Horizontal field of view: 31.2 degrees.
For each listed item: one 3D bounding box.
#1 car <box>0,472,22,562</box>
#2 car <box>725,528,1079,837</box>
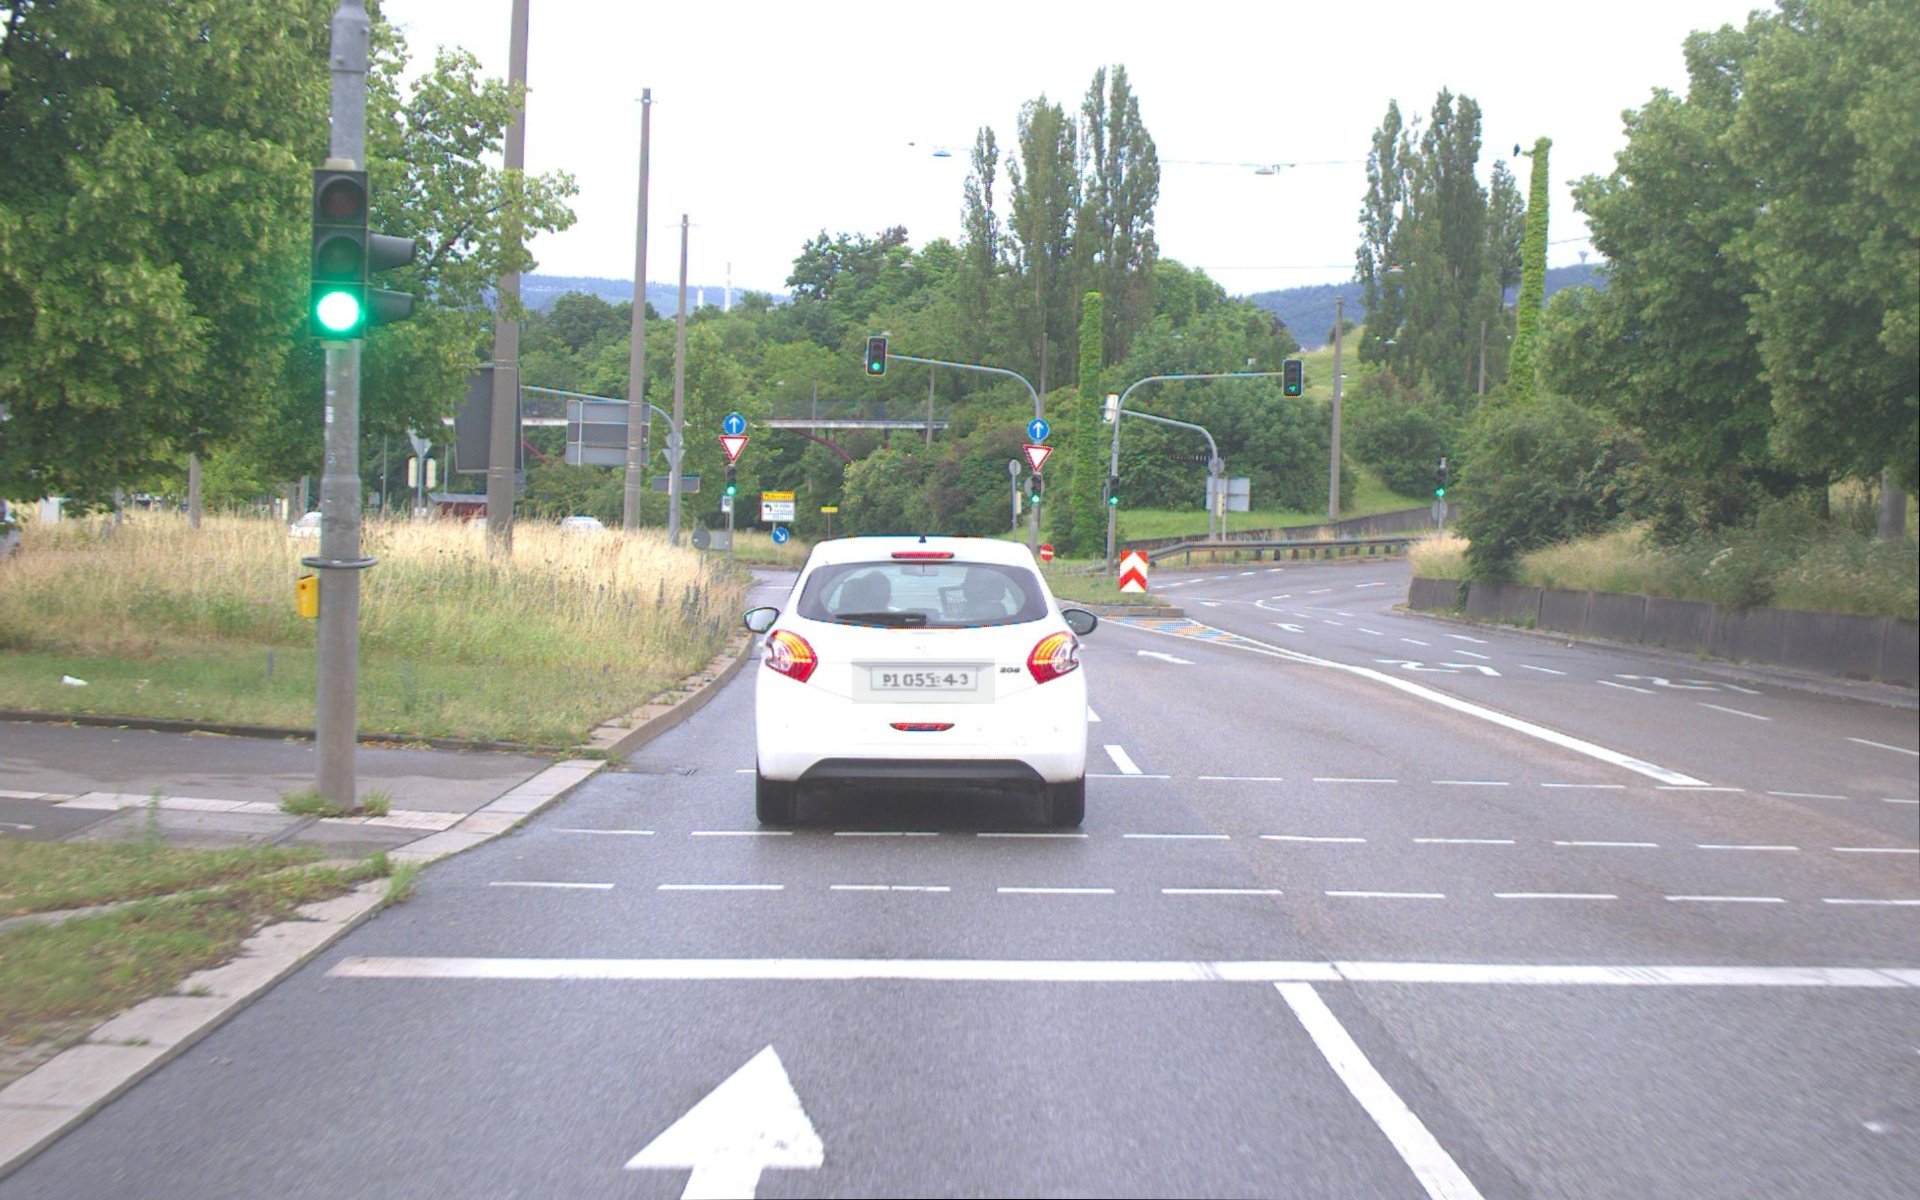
[{"bbox_3d":[-15.496,-1.284,51.709,1.538,1.384,3.927,2,1,2],"label":"car"},{"bbox_3d":[-0.308,0.364,18.559,1.708,1.435,3.691,1,2,-1],"label":"car"}]
